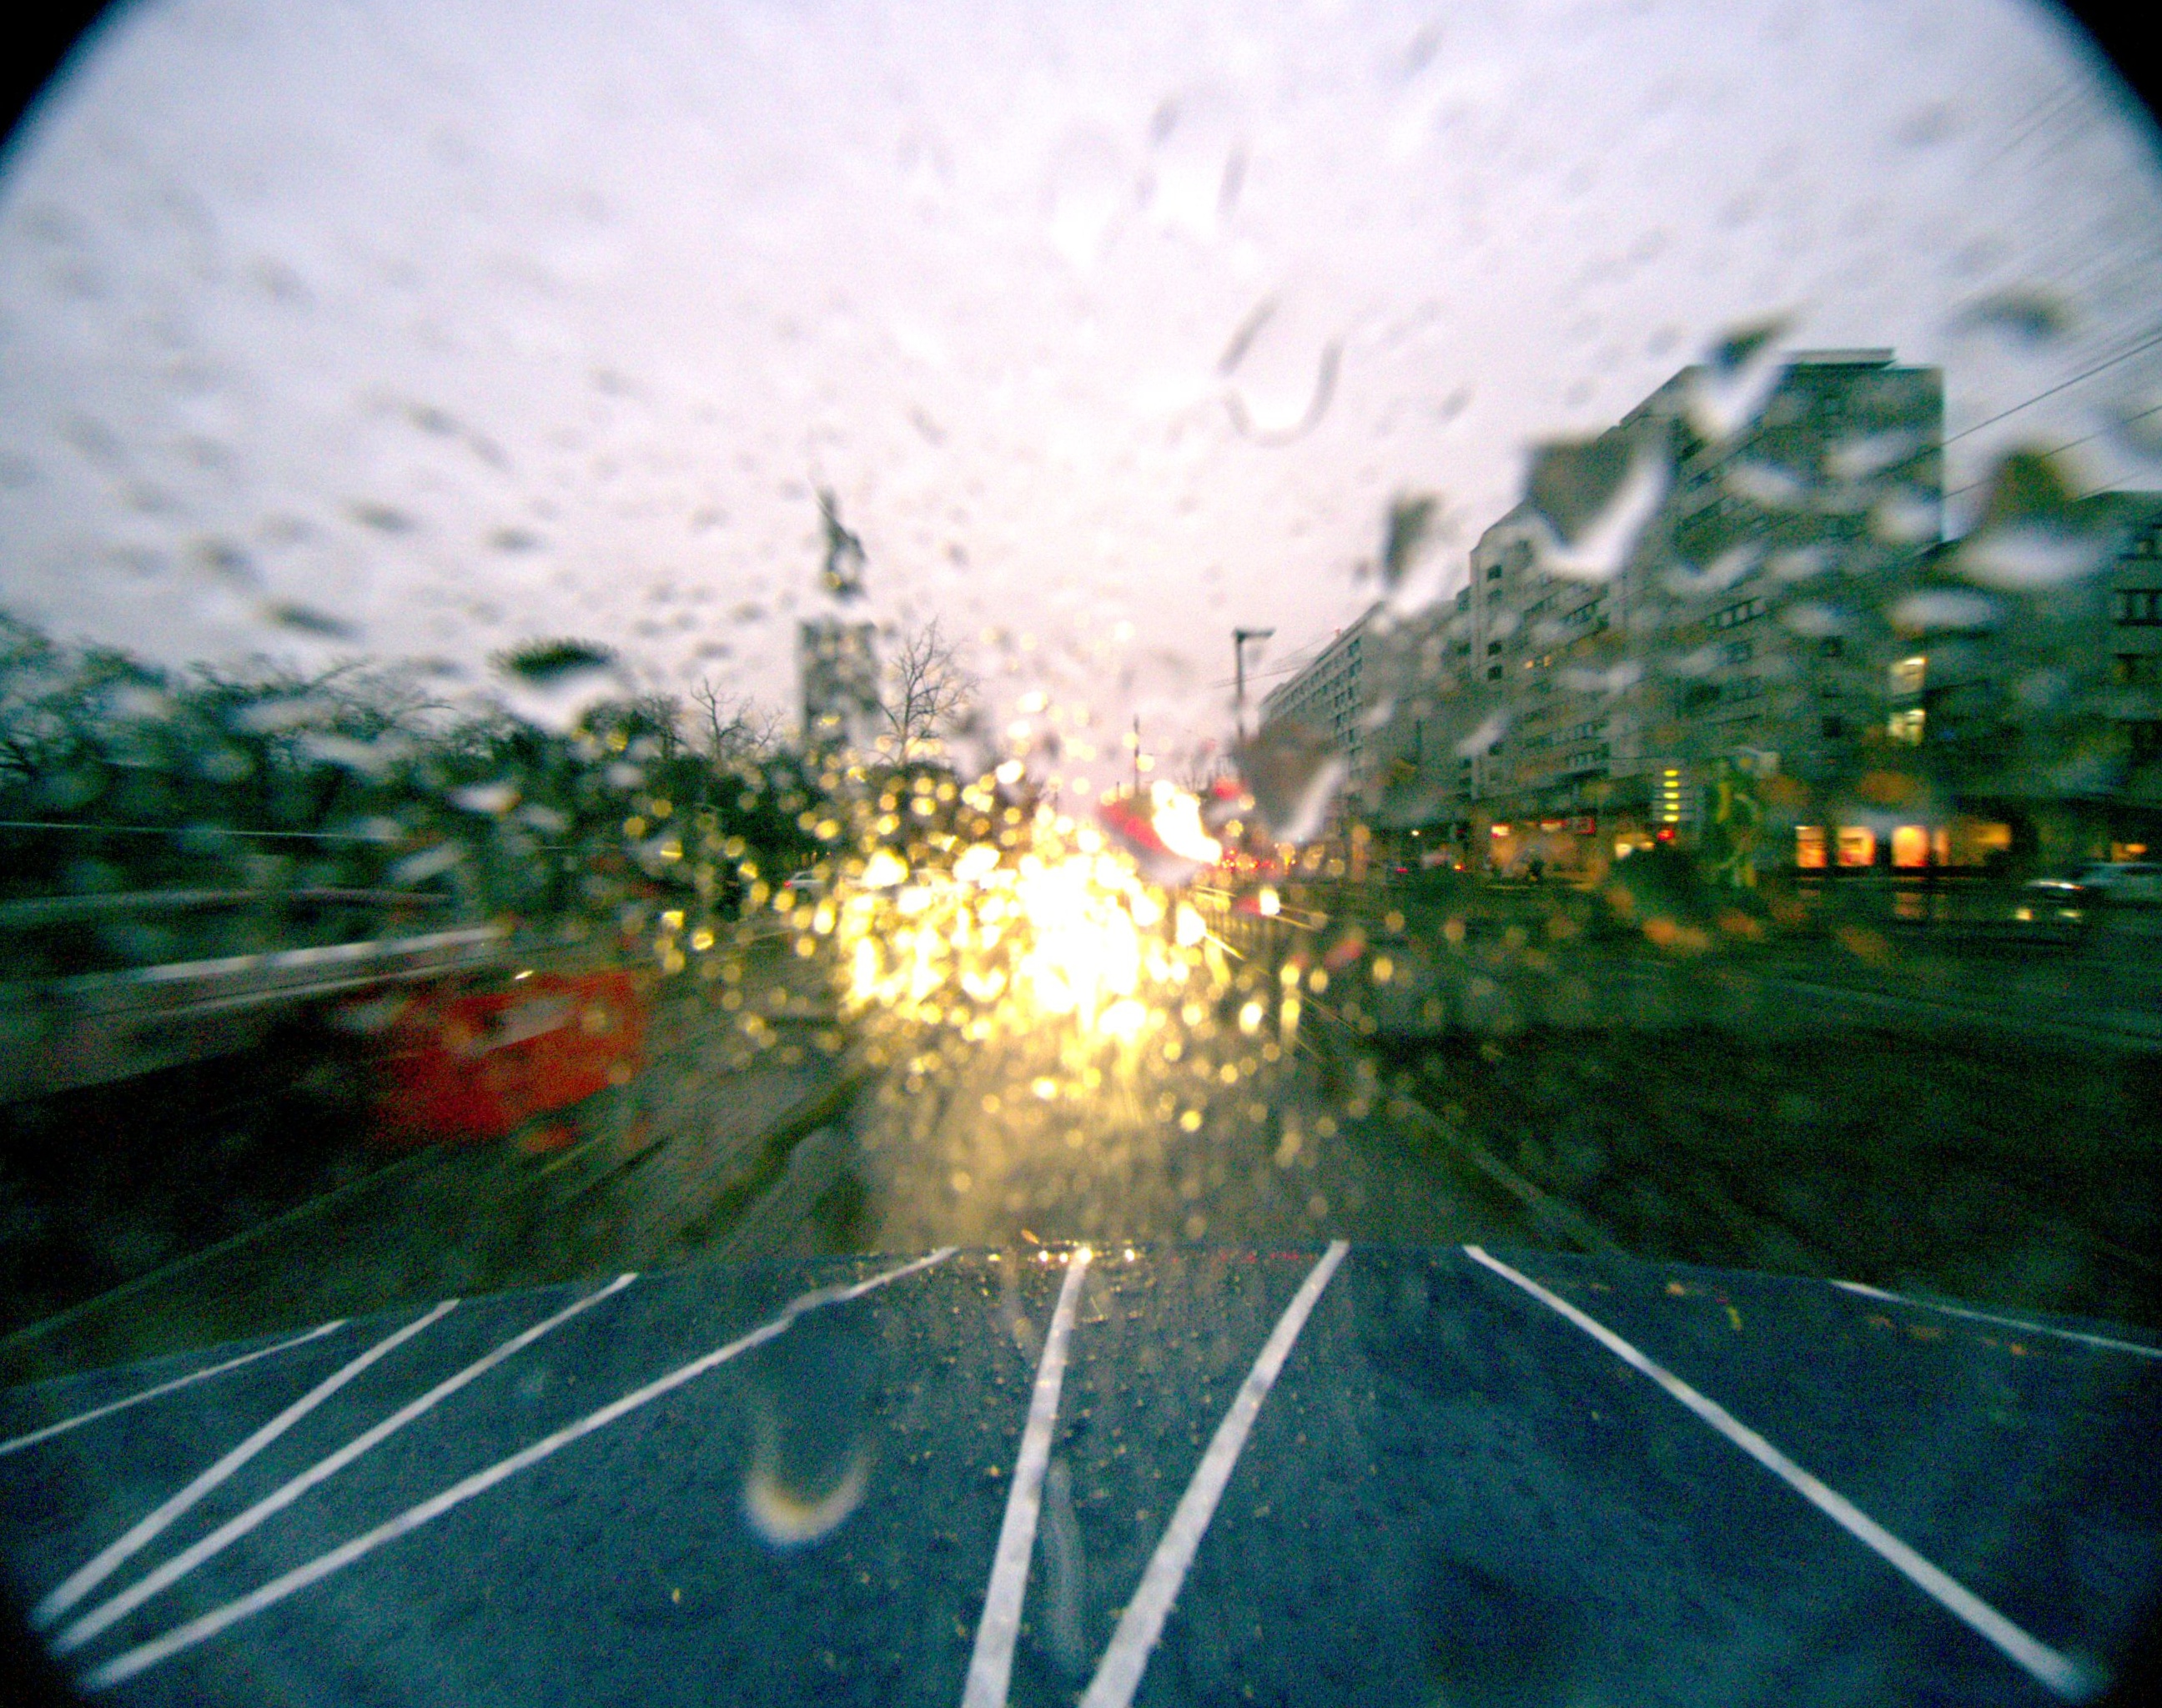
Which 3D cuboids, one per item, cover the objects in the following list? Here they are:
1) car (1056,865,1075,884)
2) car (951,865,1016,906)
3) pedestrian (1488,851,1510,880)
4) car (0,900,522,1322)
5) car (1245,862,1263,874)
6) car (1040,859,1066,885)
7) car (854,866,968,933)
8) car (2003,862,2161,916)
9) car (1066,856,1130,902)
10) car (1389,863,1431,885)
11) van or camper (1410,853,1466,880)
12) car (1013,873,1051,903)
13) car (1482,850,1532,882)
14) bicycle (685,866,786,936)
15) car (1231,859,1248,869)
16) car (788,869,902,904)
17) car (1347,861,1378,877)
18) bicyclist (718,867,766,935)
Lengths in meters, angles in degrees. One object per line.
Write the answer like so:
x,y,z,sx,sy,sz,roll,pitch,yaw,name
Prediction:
-1.426,1.951,72.798,1.679,1.670,3.865,-1,0,1,car
-3.898,1.245,31.006,1.777,1.453,4.042,-1,1,5,car
21.666,0.575,39.387,0.792,1.481,0.630,-1,0,-7,pedestrian
-5.137,1.135,3.739,1.727,1.471,3.999,-3,1,0,car
25.009,2.015,109.954,1.754,1.503,3.890,-1,0,-1,car
-2.007,1.269,55.510,1.679,1.739,3.865,-1,0,1,car
-4.597,1.165,21.371,1.791,1.493,4.967,-1,1,3,car
33.251,1.112,24.920,3.997,1.503,1.685,-3,1,-1,car
0.617,0.876,27.991,2.160,1.489,4.007,-1,1,1,car
25.305,1.536,58.584,1.997,1.536,4.707,-1,0,11,car
29.373,1.018,62.795,1.998,2.085,5.654,-1,0,1,van or camper
-2.802,1.954,44.283,1.880,1.489,4.077,-1,1,1,car
30.311,0.849,54.026,1.994,2.002,4.581,-2,1,43,car
-8.674,1.169,19.109,2.244,1.647,0.690,-2,1,10,bicycle
24.379,1.561,117.280,1.754,1.440,3.873,-1,0,-1,car
-10.581,1.454,34.200,4.511,1.480,1.883,-1,0,9,car
30.702,1.579,82.796,3.785,1.608,1.677,-1,0,-44,car
-8.522,1.171,19.104,0.816,1.669,0.698,-1,1,12,bicyclist
